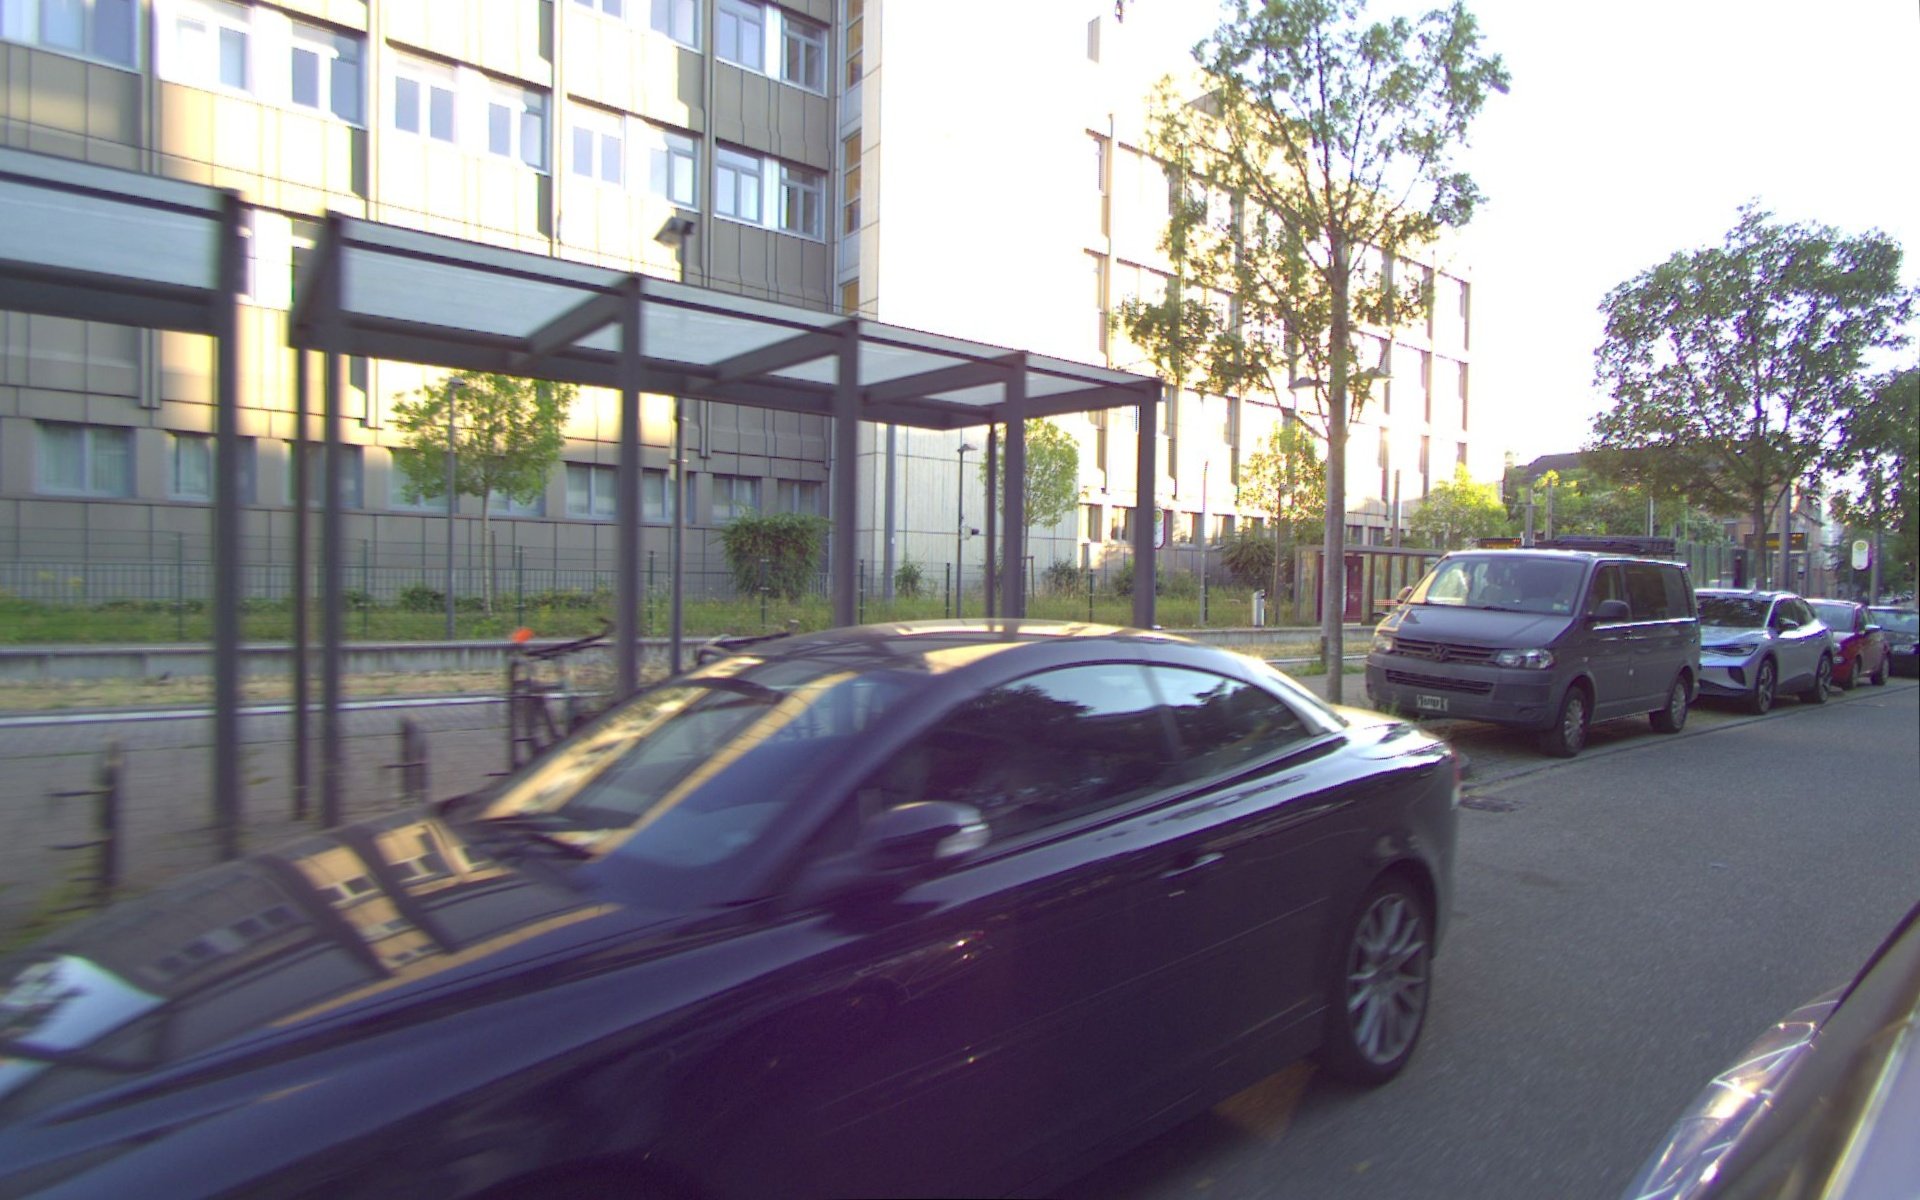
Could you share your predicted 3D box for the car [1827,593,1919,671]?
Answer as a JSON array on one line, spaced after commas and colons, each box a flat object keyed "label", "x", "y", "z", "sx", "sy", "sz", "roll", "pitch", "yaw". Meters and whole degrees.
[{"label": "car", "x": 20.202, "y": 0.623, "z": 21.663, "sx": 3.927, "sy": 1.469, "sz": 1.712, "roll": 0, "pitch": 3, "yaw": -38}]

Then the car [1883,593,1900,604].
[{"label": "car", "x": 142.501, "y": -0.233, "z": 154.878, "sx": 1.780, "sy": 1.475, "sz": 4.233, "roll": 2, "pitch": 2, "yaw": 41}]

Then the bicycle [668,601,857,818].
[{"label": "bicycle", "x": -1.264, "y": 0.588, "z": 6.215, "sx": 0.413, "sy": 1.079, "sz": 1.724, "roll": -1, "pitch": 3, "yaw": -37}]

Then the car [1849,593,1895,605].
[{"label": "car", "x": 125.122, "y": -0.092, "z": 138.882, "sx": 4.687, "sy": 1.504, "sz": 1.879, "roll": 2, "pitch": 2, "yaw": 42}]

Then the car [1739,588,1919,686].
[{"label": "car", "x": 15.815, "y": 0.588, "z": 18.342, "sx": 4.055, "sy": 1.511, "sz": 1.712, "roll": 0, "pitch": 3, "yaw": -38}]

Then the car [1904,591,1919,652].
[{"label": "car", "x": 26.349, "y": 0.618, "z": 26.256, "sx": 4.691, "sy": 1.514, "sz": 1.803, "roll": 0, "pitch": 5, "yaw": -36}]

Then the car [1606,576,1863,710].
[{"label": "car", "x": 11.185, "y": 0.513, "z": 14.512, "sx": 4.395, "sy": 1.599, "sz": 1.713, "roll": 0, "pitch": 3, "yaw": -36}]

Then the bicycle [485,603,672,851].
[{"label": "bicycle", "x": -2.174, "y": 0.599, "z": 5.622, "sx": 0.478, "sy": 1.079, "sz": 1.811, "roll": -1, "pitch": 3, "yaw": -37}]

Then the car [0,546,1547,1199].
[{"label": "car", "x": -0.087, "y": 0.659, "z": 2.985, "sx": 4.436, "sy": 1.470, "sz": 1.790, "roll": 0, "pitch": 1, "yaw": -41}]

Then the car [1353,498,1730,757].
[{"label": "car", "x": 6.326, "y": 0.176, "z": 10.780, "sx": 4.650, "sy": 2.203, "sz": 1.809, "roll": 0, "pitch": 3, "yaw": -38}]
